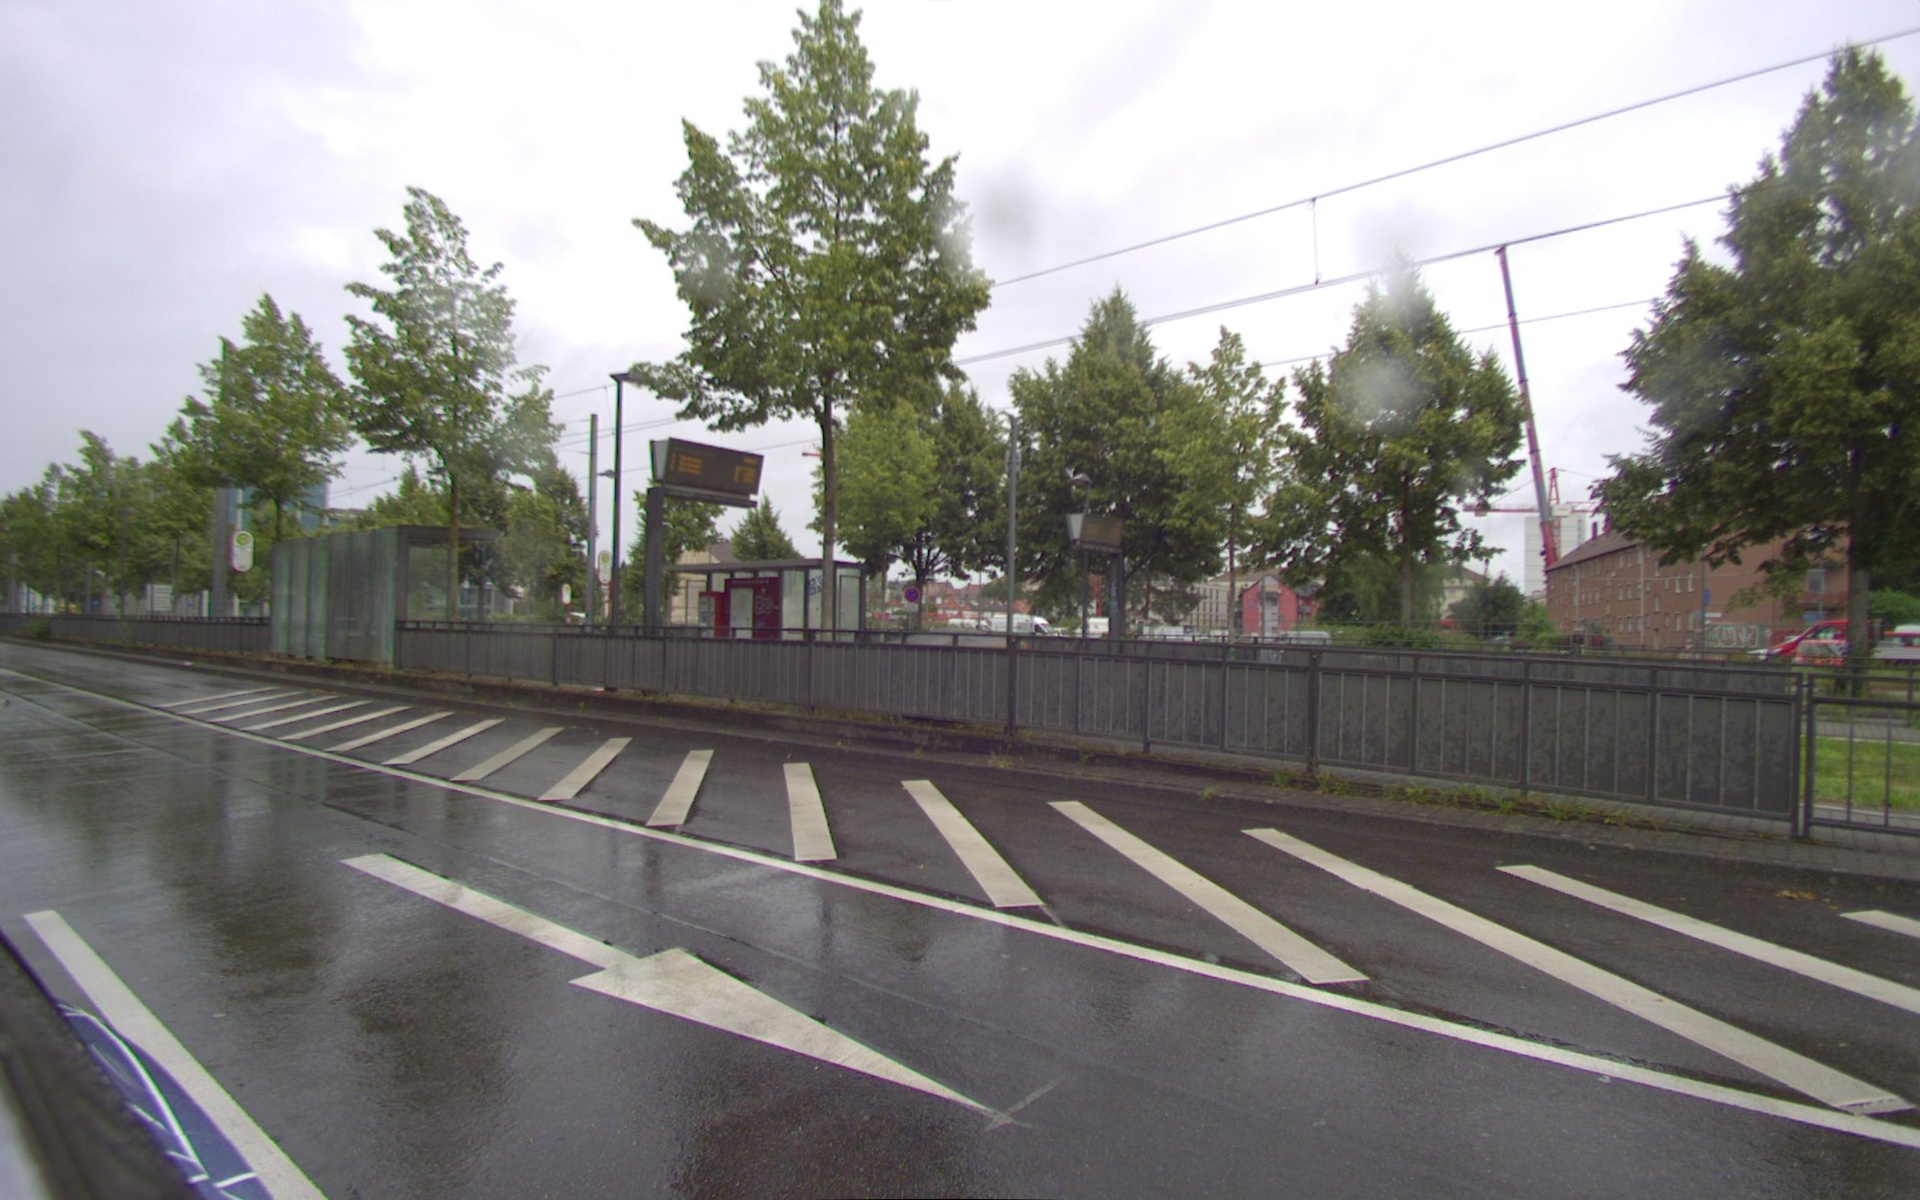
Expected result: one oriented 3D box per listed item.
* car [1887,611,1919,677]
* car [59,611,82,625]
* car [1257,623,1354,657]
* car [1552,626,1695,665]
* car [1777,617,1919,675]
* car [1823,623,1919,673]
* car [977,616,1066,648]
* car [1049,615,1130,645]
[{"bbox_3d":[46.037,1.992,45.261,2.319,2.961,6.441,-1,0,-38],"label":"car"},{"bbox_3d":[-125.915,2.532,143.264,3.999,2.029,1.972,-1,0,42],"label":"car"},{"bbox_3d":[26.586,3.051,77.964,6.804,2.495,2.335,0,-2,28],"label":"car"},{"bbox_3d":[37.025,2.491,56.758,6.393,2.029,2.336,-1,0,26],"label":"car"},{"bbox_3d":[34.749,1.676,37.655,2.319,2.029,6.441,-1,0,-38],"label":"car"},{"bbox_3d":[40.057,1.987,41.739,2.319,2.029,6.440,2,-3,-38],"label":"car"},{"bbox_3d":[5.172,2.672,86.122,7.627,2.495,2.327,-1,0,38],"label":"car"},{"bbox_3d":[11.403,2.590,89.400,6.823,2.495,2.471,-1,0,36],"label":"car"}]
